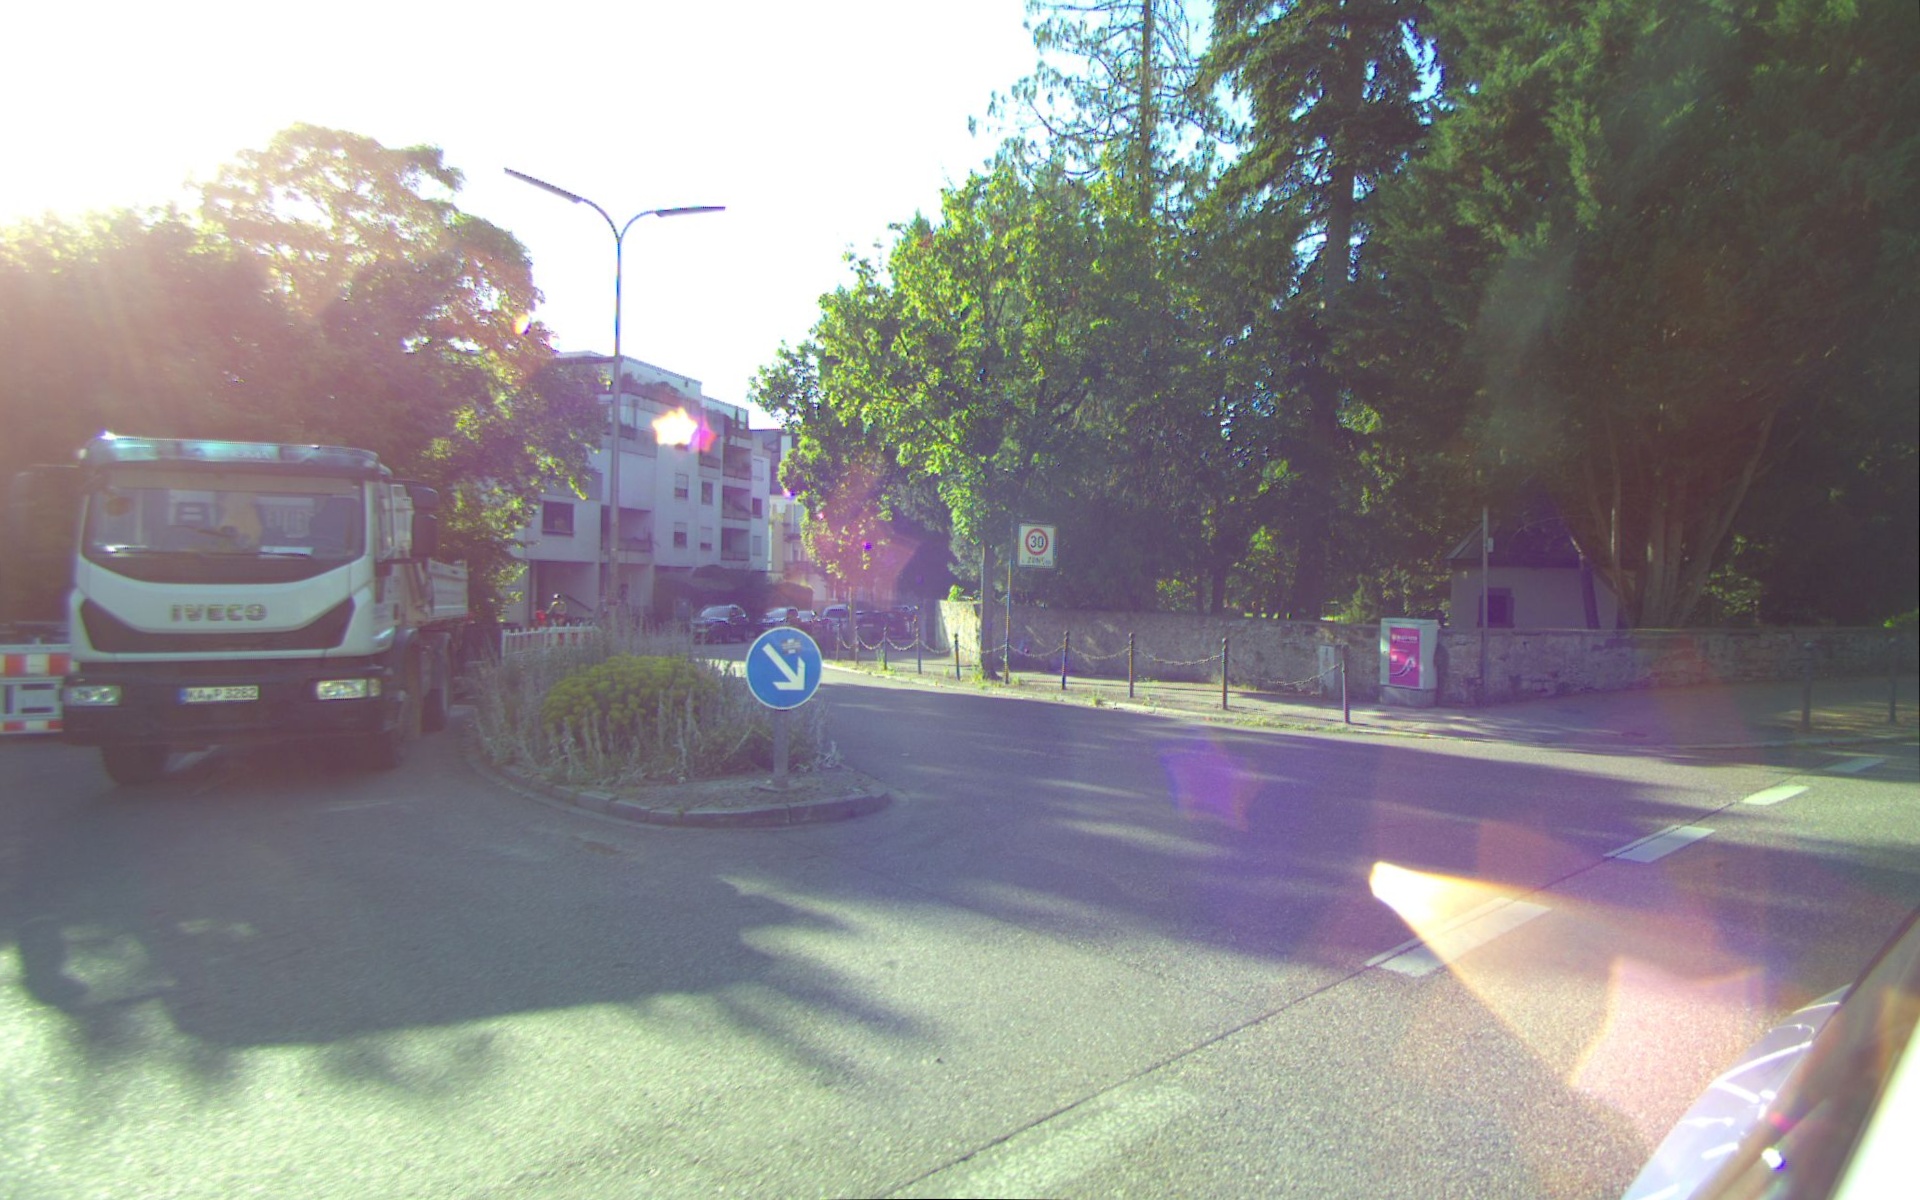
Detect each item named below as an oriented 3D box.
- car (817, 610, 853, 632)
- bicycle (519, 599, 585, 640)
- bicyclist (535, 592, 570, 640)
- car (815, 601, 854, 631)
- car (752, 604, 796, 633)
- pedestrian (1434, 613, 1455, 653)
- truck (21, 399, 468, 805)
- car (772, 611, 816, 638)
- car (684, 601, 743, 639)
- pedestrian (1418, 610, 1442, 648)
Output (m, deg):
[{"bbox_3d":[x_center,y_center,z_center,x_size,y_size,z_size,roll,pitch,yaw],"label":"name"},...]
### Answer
[{"bbox_3d":[-8.712,1.428,70.782,1.725,1.429,3.591,1,0,7],"label":"car"},{"bbox_3d":[-13.405,0.615,33.361,0.750,1.222,2.838,5,0,5],"label":"bicycle"},{"bbox_3d":[-13.406,0.524,33.298,0.747,1.504,0.643,4,0,5],"label":"bicyclist"},{"bbox_3d":[-6.839,0.852,55.568,1.802,1.542,3.915,0,0,-2],"label":"car"},{"bbox_3d":[-10.102,0.967,55.089,1.802,1.542,3.915,0,0,-2],"label":"car"},{"bbox_3d":[21.164,1.431,44.202,0.586,1.752,0.592,0,-2,-25],"label":"pedestrian"},{"bbox_3d":[-6.871,0.036,10.822,2.382,2.932,6.621,0,-1,-22],"label":"truck"},{"bbox_3d":[-9.686,1.412,59.338,1.723,1.429,3.593,1,0,5],"label":"car"},{"bbox_3d":[-10.729,0.846,44.273,1.802,1.605,4.024,0,0,-3],"label":"car"},{"bbox_3d":[20.385,1.249,43.899,0.554,1.639,0.762,0,-1,-14],"label":"pedestrian"}]
